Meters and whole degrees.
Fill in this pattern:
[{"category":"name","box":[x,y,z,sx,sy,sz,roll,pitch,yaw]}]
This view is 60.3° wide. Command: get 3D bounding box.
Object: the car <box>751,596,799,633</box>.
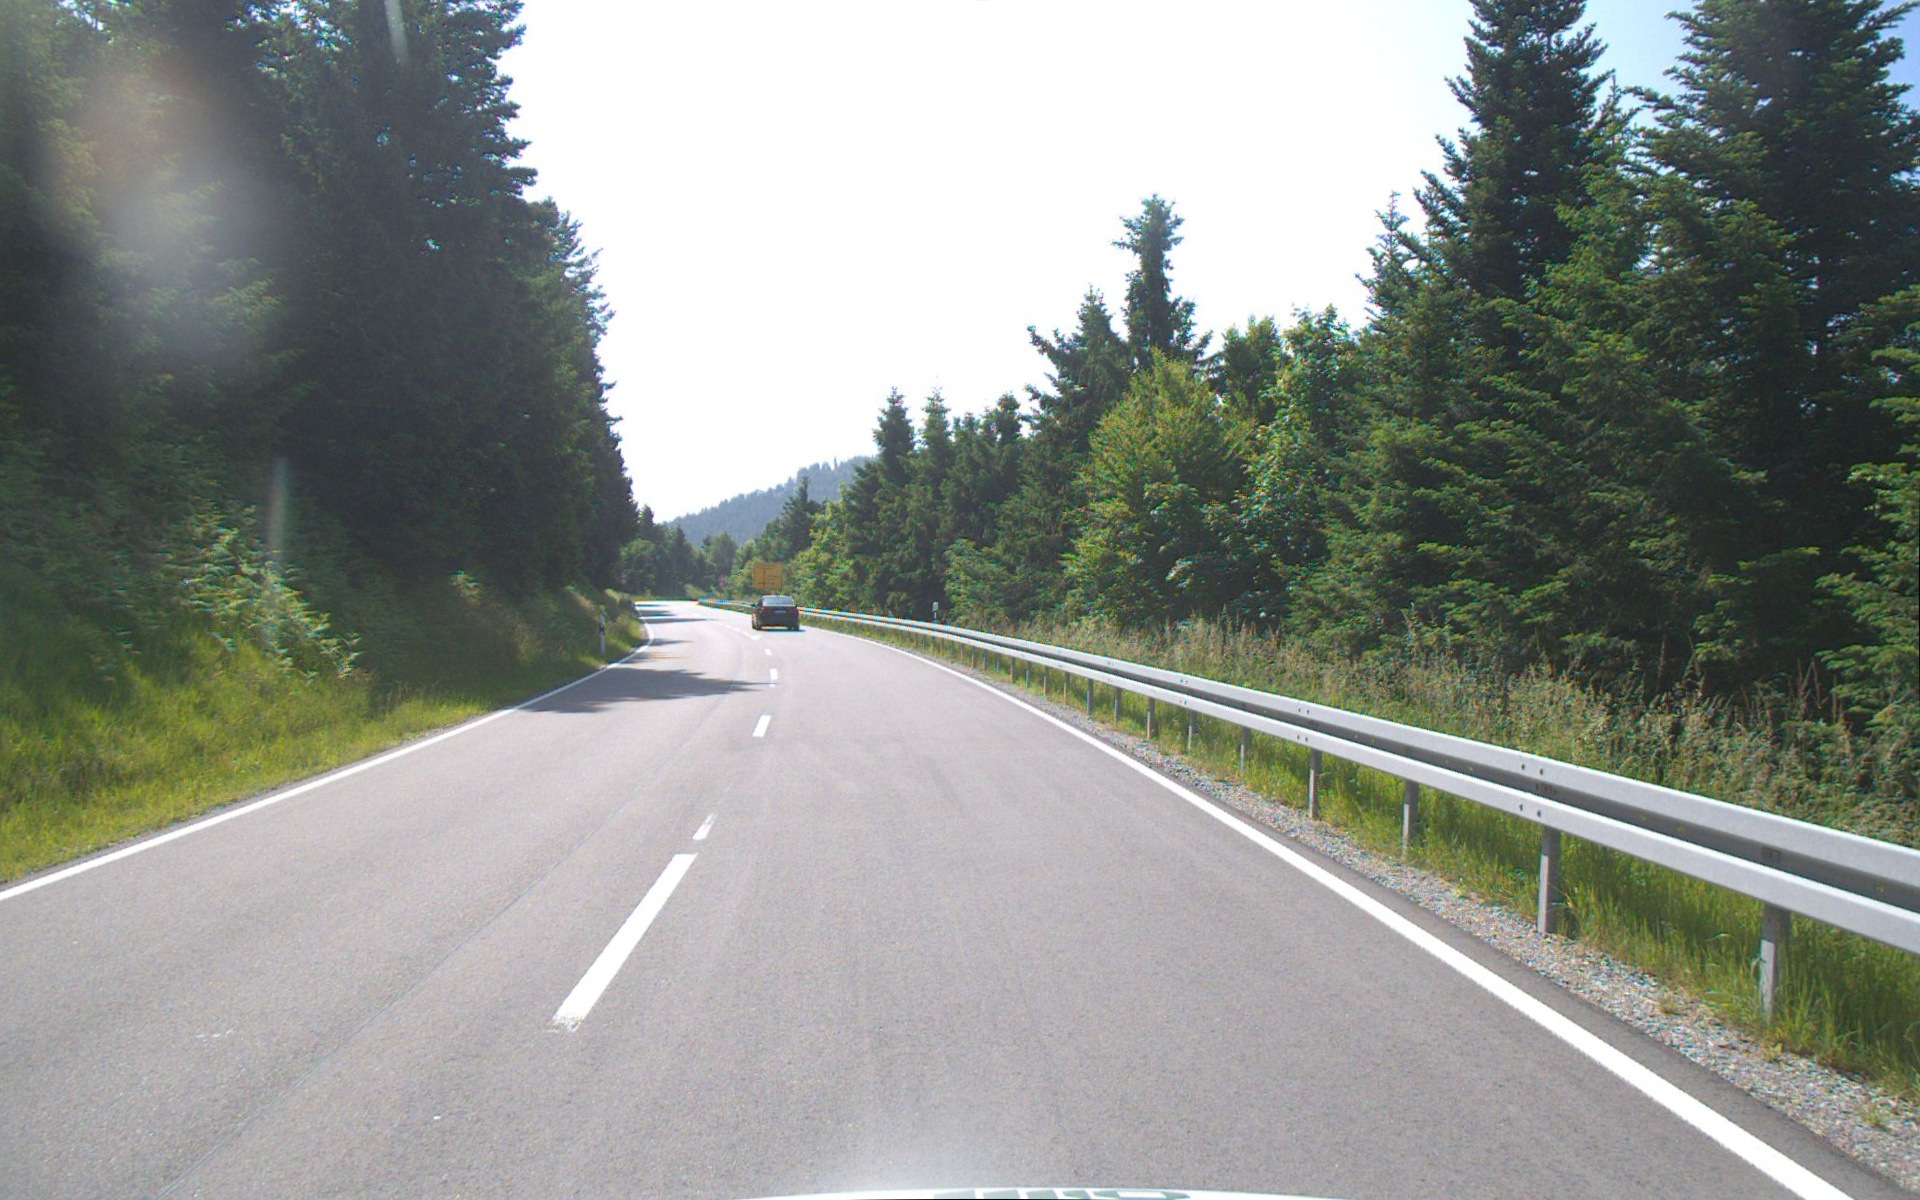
[{"category":"car","box":[-7.714,0.590,68.805,1.744,1.467,3.700,-1,0,-10]}]
